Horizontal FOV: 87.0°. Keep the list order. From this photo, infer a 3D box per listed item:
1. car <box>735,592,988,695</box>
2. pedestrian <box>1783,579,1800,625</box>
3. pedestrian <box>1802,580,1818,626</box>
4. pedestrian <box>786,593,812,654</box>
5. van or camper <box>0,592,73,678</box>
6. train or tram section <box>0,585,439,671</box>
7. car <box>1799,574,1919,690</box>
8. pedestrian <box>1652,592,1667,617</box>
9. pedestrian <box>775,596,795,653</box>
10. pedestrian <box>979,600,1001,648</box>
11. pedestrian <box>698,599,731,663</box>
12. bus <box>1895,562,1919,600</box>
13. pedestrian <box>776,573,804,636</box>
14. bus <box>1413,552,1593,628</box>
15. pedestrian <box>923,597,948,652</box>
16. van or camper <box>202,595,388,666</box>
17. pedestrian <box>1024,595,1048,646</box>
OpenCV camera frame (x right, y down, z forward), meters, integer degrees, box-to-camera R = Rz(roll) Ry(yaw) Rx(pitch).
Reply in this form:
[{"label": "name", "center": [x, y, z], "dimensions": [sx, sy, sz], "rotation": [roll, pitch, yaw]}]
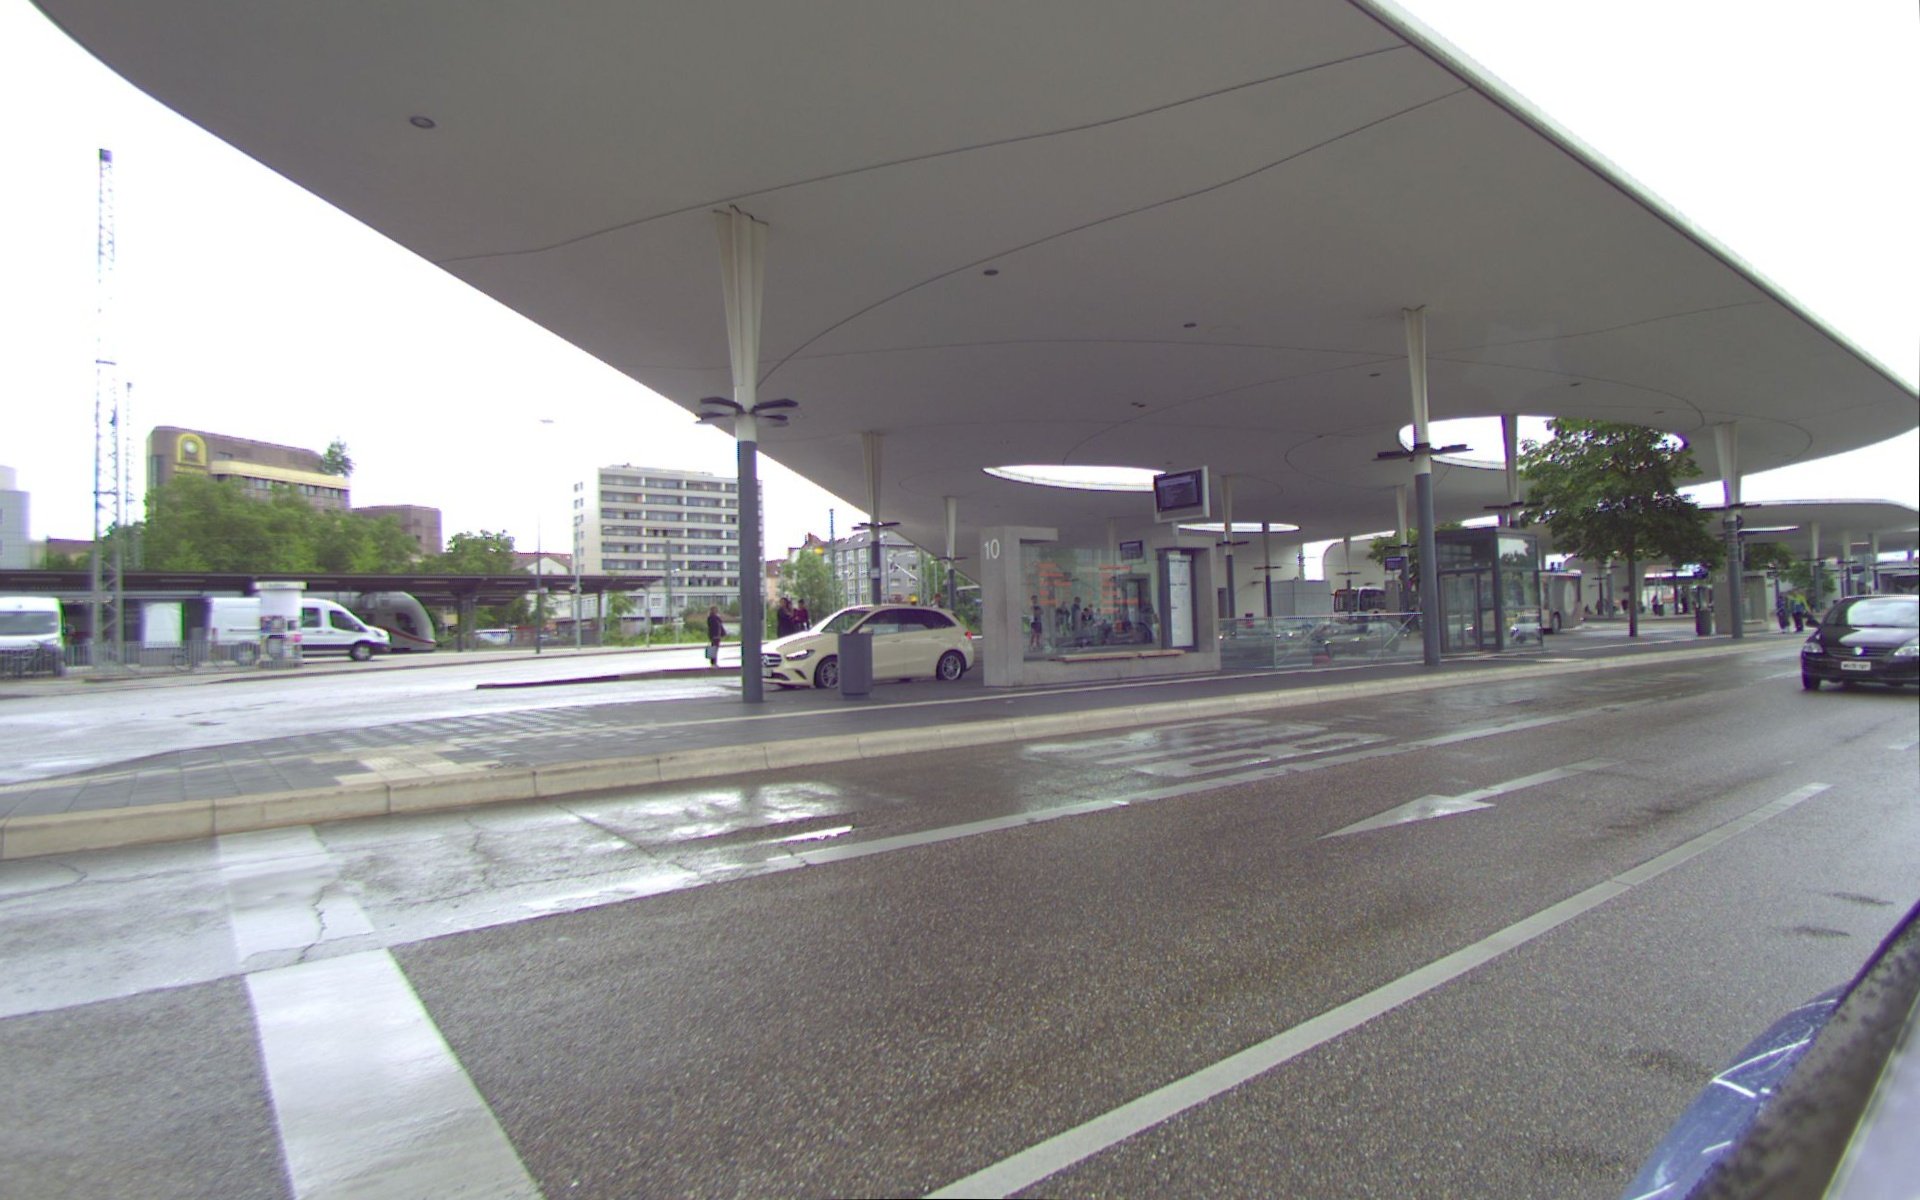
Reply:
[{"label": "car", "center": [-1.811, 0.717, 19.364], "dimensions": [4.459, 1.702, 1.998], "rotation": [-1, 1, -38]}, {"label": "pedestrian", "center": [32.800, 0.080, 39.911], "dimensions": [0.528, 1.786, 0.444], "rotation": [0, -1, -45]}, {"label": "pedestrian", "center": [33.223, 0.120, 39.541], "dimensions": [0.444, 1.786, 0.529], "rotation": [-1, -1, 40]}, {"label": "pedestrian", "center": [-4.117, 0.594, 25.847], "dimensions": [0.470, 1.533, 0.535], "rotation": [0, -1, -33]}, {"label": "van or camper", "center": [-29.487, 1.009, 31.801], "dimensions": [2.130, 2.464, 5.849], "rotation": [-1, 1, -44]}, {"label": "train or tram section", "center": [-45.442, 1.366, 56.492], "dimensions": [28.777, 4.234, 4.602], "rotation": [-1, 1, -38]}, {"label": "car", "center": [15.474, 0.455, 16.722], "dimensions": [4.085, 1.723, 1.874], "rotation": [0, 0, -41]}, {"label": "pedestrian", "center": [59.037, 0.362, 85.390], "dimensions": [1.017, 2.039, 0.870], "rotation": [0, 0, 32]}, {"label": "pedestrian", "center": [-4.802, 0.673, 27.719], "dimensions": [0.470, 1.533, 0.535], "rotation": [-1, -1, -3]}, {"label": "pedestrian", "center": [0.968, 0.777, 32.969], "dimensions": [0.515, 1.533, 0.479], "rotation": [0, -1, -34]}, {"label": "pedestrian", "center": [-6.333, 0.788, 26.102], "dimensions": [0.725, 1.615, 0.643], "rotation": [-1, 0, -24]}, {"label": "bus", "center": [82.469, -1.609, 86.606], "dimensions": [3.572, 3.138, 10.588], "rotation": [-1, 0, 43]}, {"label": "pedestrian", "center": [-4.187, 0.104, 24.911], "dimensions": [0.470, 1.533, 0.535], "rotation": [0, -1, -33]}, {"label": "bus", "center": [25.195, -0.356, 46.544], "dimensions": [11.703, 3.121, 2.876], "rotation": [1, 0, -38]}, {"label": "pedestrian", "center": [-0.686, 0.683, 28.419], "dimensions": [0.525, 1.533, 0.479], "rotation": [0, -1, -34]}, {"label": "van or camper", "center": [-25.145, 1.068, 38.425], "dimensions": [5.758, 2.464, 1.998], "rotation": [-1, 1, -38]}, {"label": "pedestrian", "center": [2.319, 0.622, 30.862], "dimensions": [0.525, 1.533, 0.479], "rotation": [0, -1, -34]}]
